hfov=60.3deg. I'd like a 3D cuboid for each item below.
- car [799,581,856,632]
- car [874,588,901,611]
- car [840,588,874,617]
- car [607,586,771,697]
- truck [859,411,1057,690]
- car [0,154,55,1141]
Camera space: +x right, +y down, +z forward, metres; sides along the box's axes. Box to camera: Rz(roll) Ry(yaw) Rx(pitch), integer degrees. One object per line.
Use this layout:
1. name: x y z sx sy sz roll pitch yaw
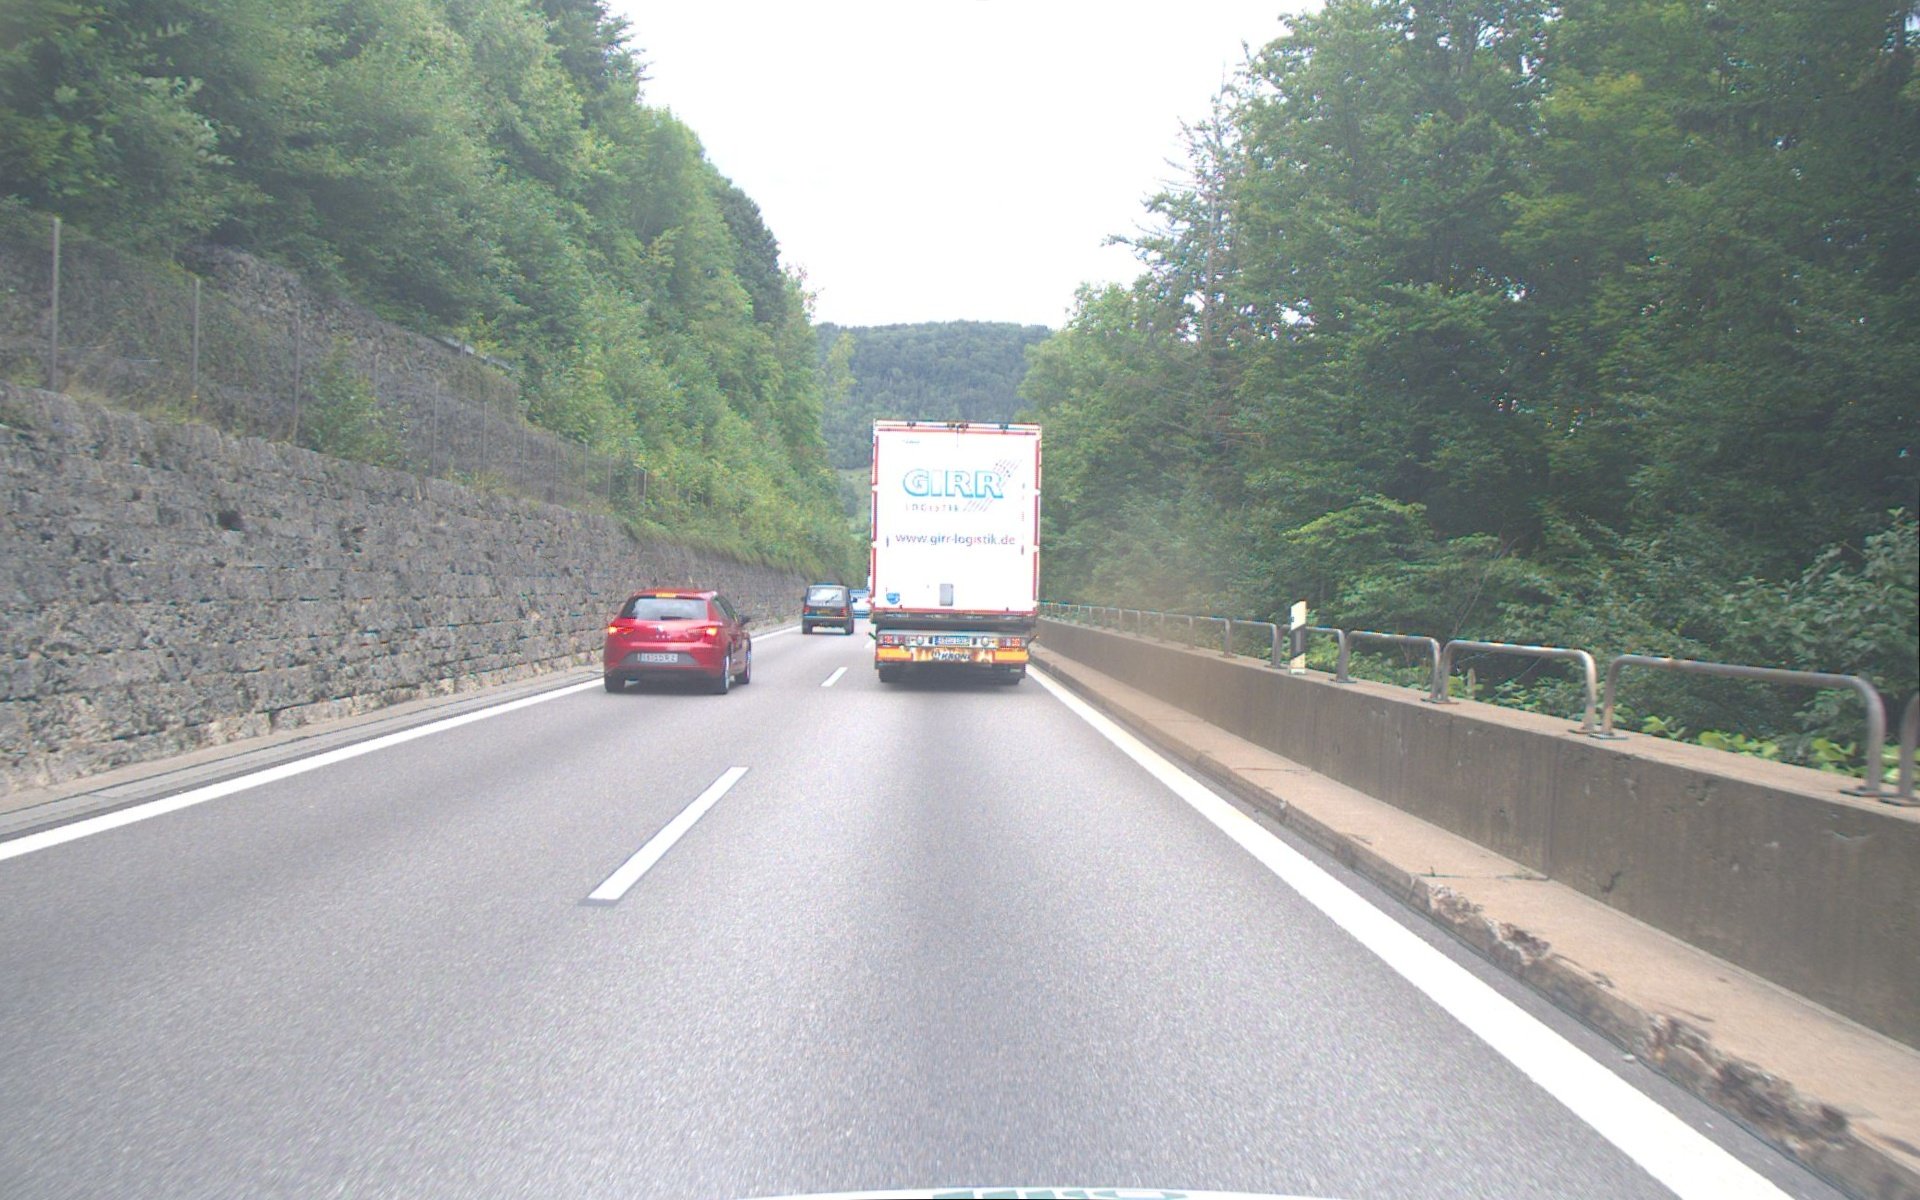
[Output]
1. car: -4.465 0.232 56.051 1.635 1.667 4.067 0 0 -1
2. car: -5.181 -0.009 118.719 1.878 1.623 4.178 0 0 -1
3. car: -5.608 0.142 90.222 1.694 1.512 3.999 0 0 -1
4. car: -3.910 0.570 24.516 1.730 1.485 4.410 0 0 -1
5. truck: -0.047 -0.717 28.633 2.849 4.030 9.278 0 0 0
6. car: -3.490 0.114 1.493 1.985 2.630 6.273 0 0 -1
